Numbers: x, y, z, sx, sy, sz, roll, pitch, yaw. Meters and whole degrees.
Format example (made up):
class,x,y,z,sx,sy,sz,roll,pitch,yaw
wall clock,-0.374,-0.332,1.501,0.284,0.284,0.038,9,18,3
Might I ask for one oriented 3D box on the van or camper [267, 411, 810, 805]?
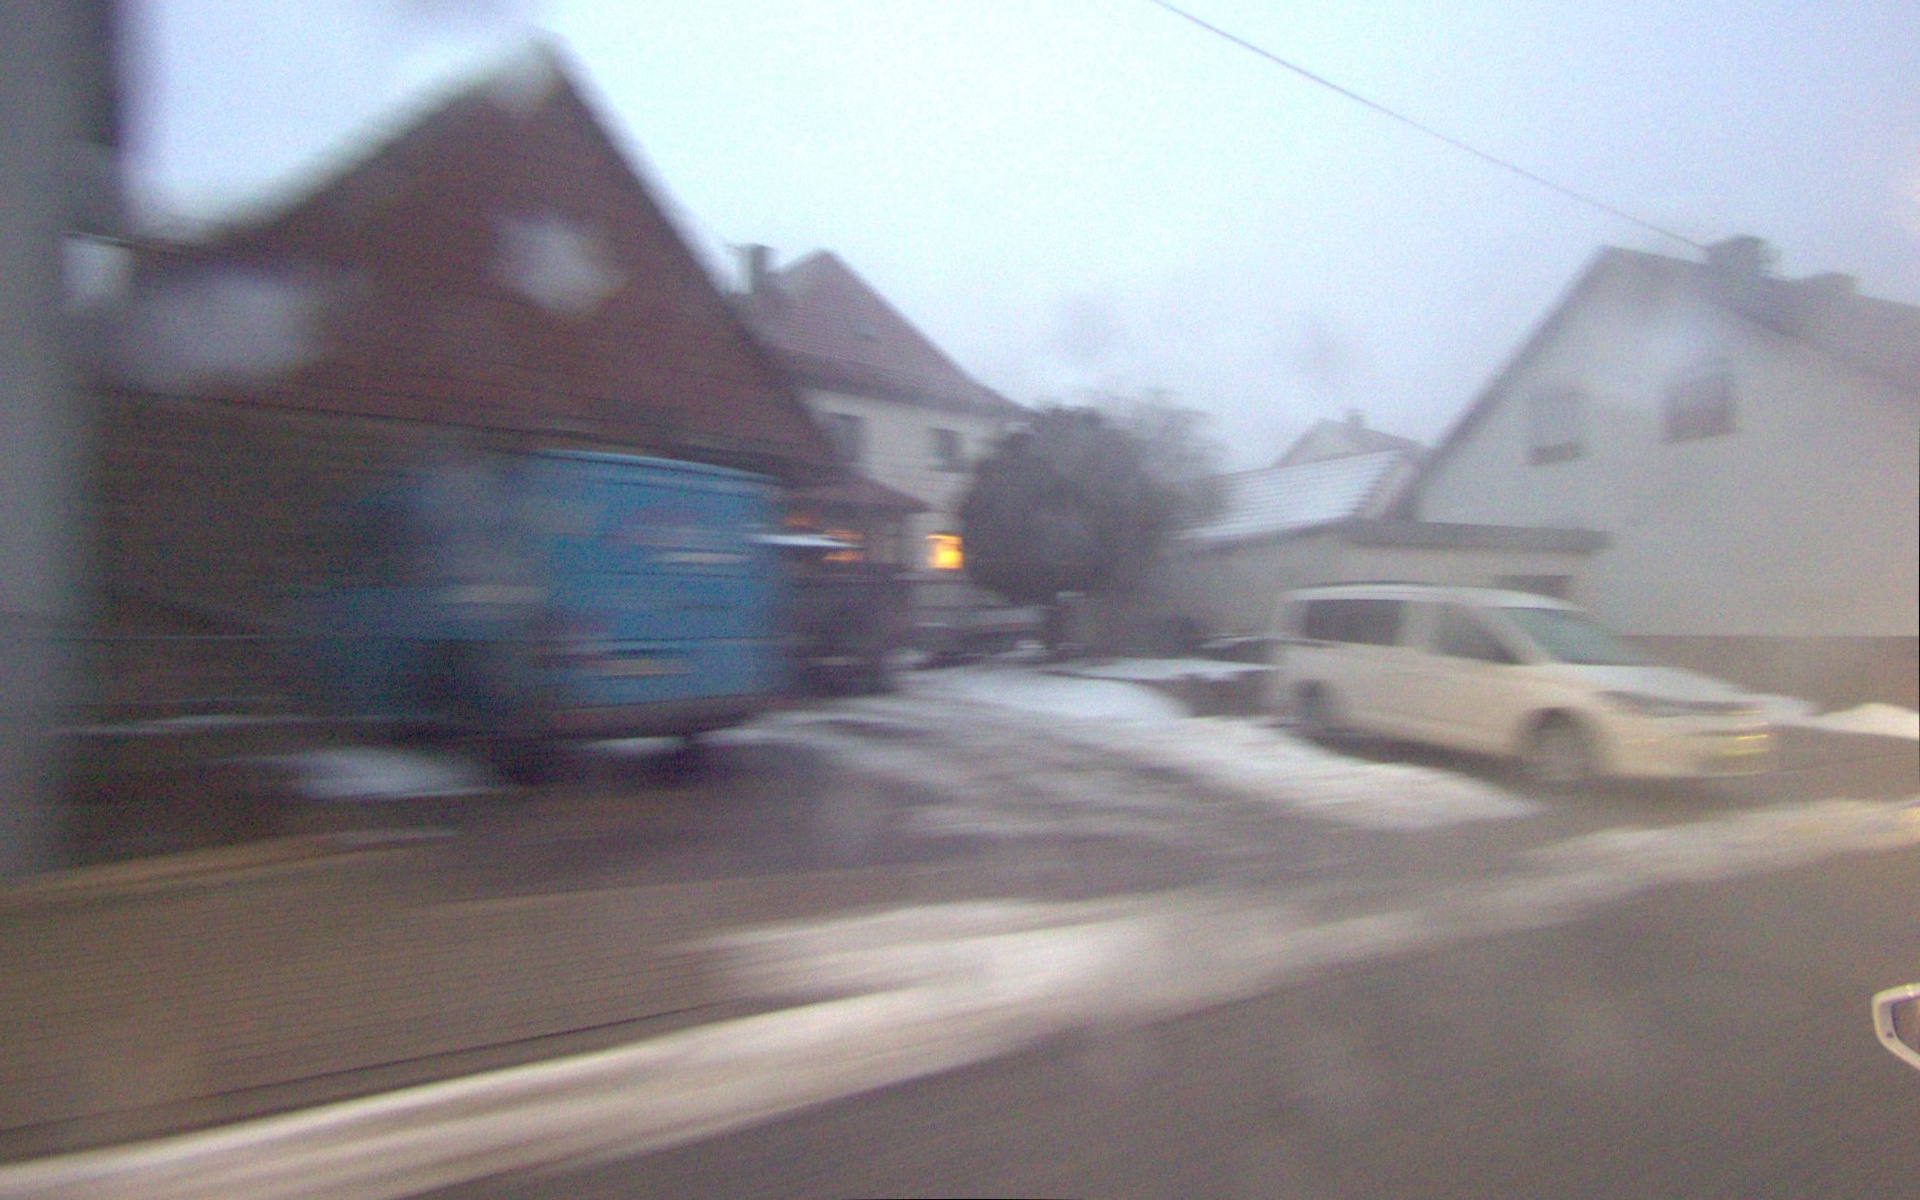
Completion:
class,x,y,z,sx,sy,sz,roll,pitch,yaw
van or camper,-3.903,0.113,8.805,5.224,2.480,2.136,-1,-2,39

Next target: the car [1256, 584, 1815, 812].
class,x,y,z,sx,sy,sz,roll,pitch,yaw
car,5.343,0.735,10.236,1.863,1.689,4.781,1,1,-22
